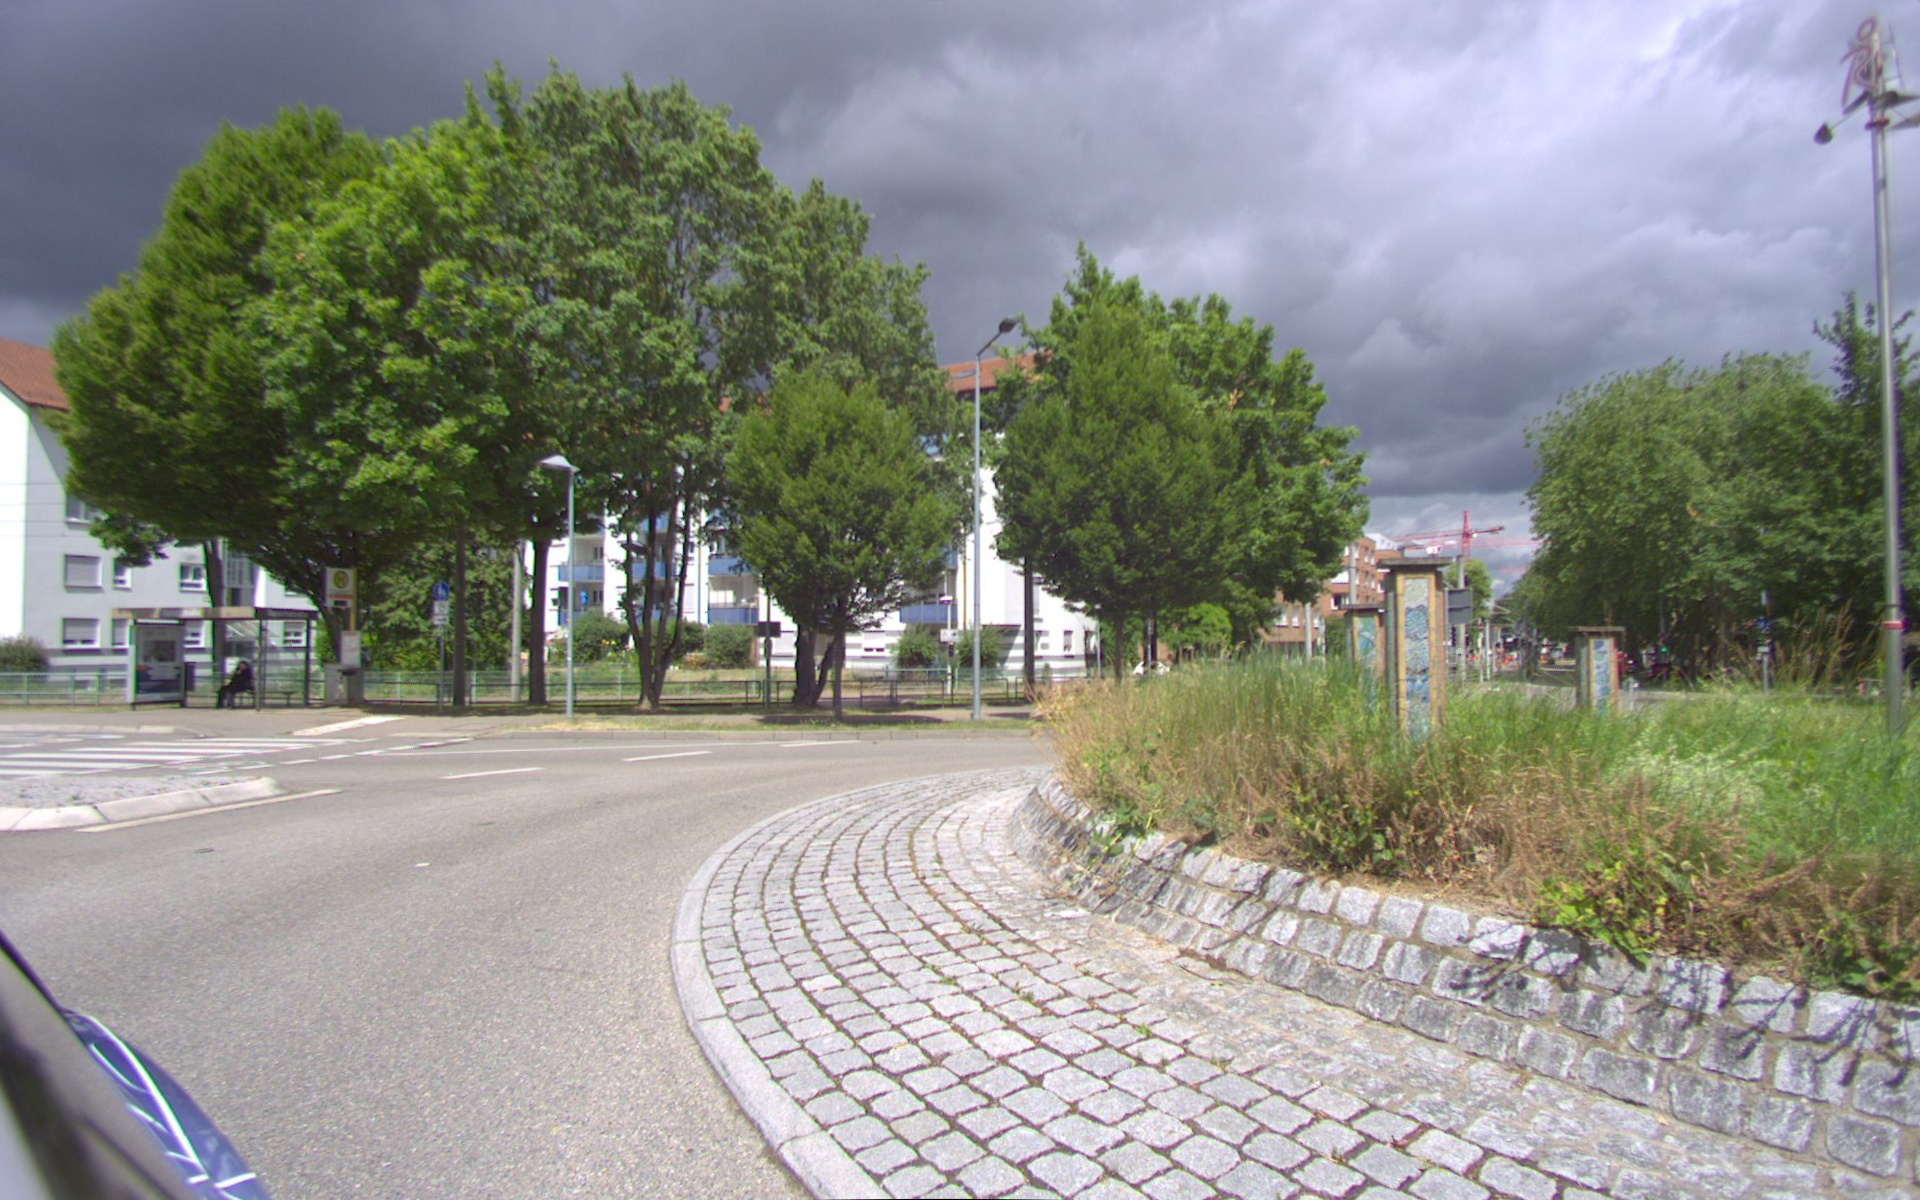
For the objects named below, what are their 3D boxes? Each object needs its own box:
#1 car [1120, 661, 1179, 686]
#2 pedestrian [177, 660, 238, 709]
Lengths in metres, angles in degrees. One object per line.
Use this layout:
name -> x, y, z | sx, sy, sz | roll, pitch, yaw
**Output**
car -> 14.253, 5.515, 76.046 | 3.979, 1.822, 1.982 | -2, -5, 26
pedestrian -> -18.385, 2.050, 24.747 | 0.903, 1.144, 0.797 | -1, -2, 14
